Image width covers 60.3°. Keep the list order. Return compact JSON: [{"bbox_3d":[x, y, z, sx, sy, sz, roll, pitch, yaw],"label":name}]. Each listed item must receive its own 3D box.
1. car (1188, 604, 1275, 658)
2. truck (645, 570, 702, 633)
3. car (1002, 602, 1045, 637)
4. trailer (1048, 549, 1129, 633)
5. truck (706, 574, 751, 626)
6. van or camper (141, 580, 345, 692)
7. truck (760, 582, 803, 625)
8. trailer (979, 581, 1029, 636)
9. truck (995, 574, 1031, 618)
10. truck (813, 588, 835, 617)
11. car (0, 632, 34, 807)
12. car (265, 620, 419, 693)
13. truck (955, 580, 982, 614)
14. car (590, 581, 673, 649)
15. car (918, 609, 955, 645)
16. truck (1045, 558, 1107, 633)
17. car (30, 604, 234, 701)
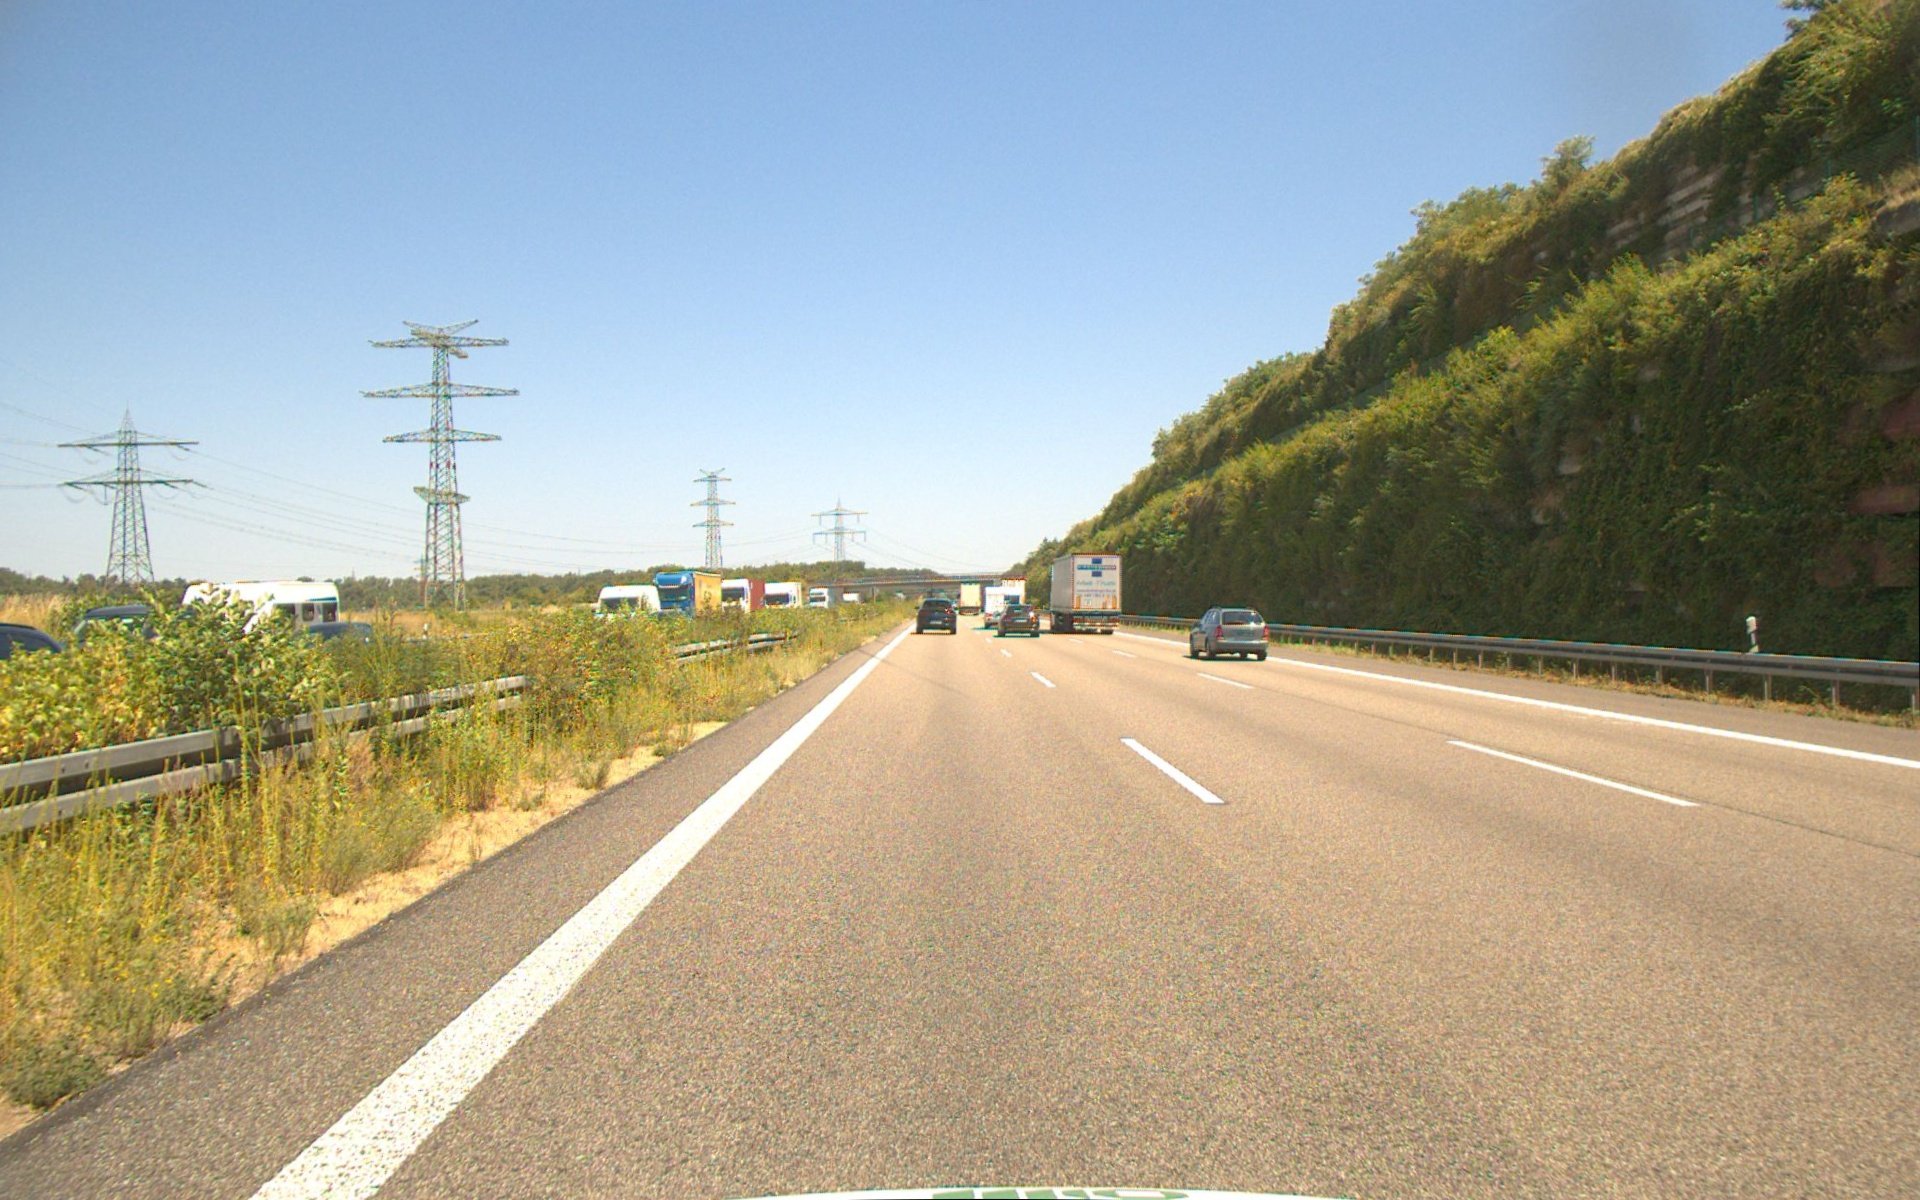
[{"bbox_3d":[7.698,0.848,47.297,1.650,1.453,4.452,0,0,-2],"label":"car"},{"bbox_3d":[-18.785,0.094,108.757,2.805,3.976,5.619,-1,0,-1],"label":"truck"},{"bbox_3d":[2.915,0.874,76.697,1.792,1.552,3.999,-1,0,0],"label":"car"},{"bbox_3d":[6.829,-0.433,89.937,3.118,4.193,13.428,-1,0,-1],"label":"trailer"},{"bbox_3d":[-19.694,-0.011,141.000,3.149,4.231,6.435,-1,0,-3],"label":"truck"},{"bbox_3d":[-17.851,0.837,41.653,2.394,2.562,6.482,-1,0,-1],"label":"van or camper"},{"bbox_3d":[-15.103,0.257,140.486,2.877,3.473,9.363,-1,0,-2],"label":"truck"},{"bbox_3d":[2.704,0.528,103.974,2.558,3.269,9.949,-1,0,-2],"label":"trailer"},{"bbox_3d":[5.419,-0.361,171.598,3.056,4.355,11.931,-1,0,-1],"label":"truck"},{"bbox_3d":[-19.267,0.350,235.059,2.641,4.140,5.800,-1,0,-1],"label":"truck"},{"bbox_3d":[-9.415,1.110,13.597,1.440,1.579,3.998,-1,0,-2],"label":"car"},{"bbox_3d":[-13.418,1.188,36.209,1.524,1.400,4.882,-1,0,0],"label":"car"},{"bbox_3d":[1.078,-0.352,221.502,3.340,4.355,10.605,-1,0,-1],"label":"truck"},{"bbox_3d":[-14.074,0.602,71.378,2.062,2.677,7.466,-3,0,-1],"label":"car"},{"bbox_3d":[-1.180,1.296,81.610,1.793,1.700,3.999,-1,0,-2],"label":"car"},{"bbox_3d":[6.729,-0.256,96.796,3.072,4.214,5.502,-1,0,-1],"label":"truck"},{"bbox_3d":[-17.632,1.050,35.541,2.005,1.887,4.868,-1,0,-2],"label":"car"}]
